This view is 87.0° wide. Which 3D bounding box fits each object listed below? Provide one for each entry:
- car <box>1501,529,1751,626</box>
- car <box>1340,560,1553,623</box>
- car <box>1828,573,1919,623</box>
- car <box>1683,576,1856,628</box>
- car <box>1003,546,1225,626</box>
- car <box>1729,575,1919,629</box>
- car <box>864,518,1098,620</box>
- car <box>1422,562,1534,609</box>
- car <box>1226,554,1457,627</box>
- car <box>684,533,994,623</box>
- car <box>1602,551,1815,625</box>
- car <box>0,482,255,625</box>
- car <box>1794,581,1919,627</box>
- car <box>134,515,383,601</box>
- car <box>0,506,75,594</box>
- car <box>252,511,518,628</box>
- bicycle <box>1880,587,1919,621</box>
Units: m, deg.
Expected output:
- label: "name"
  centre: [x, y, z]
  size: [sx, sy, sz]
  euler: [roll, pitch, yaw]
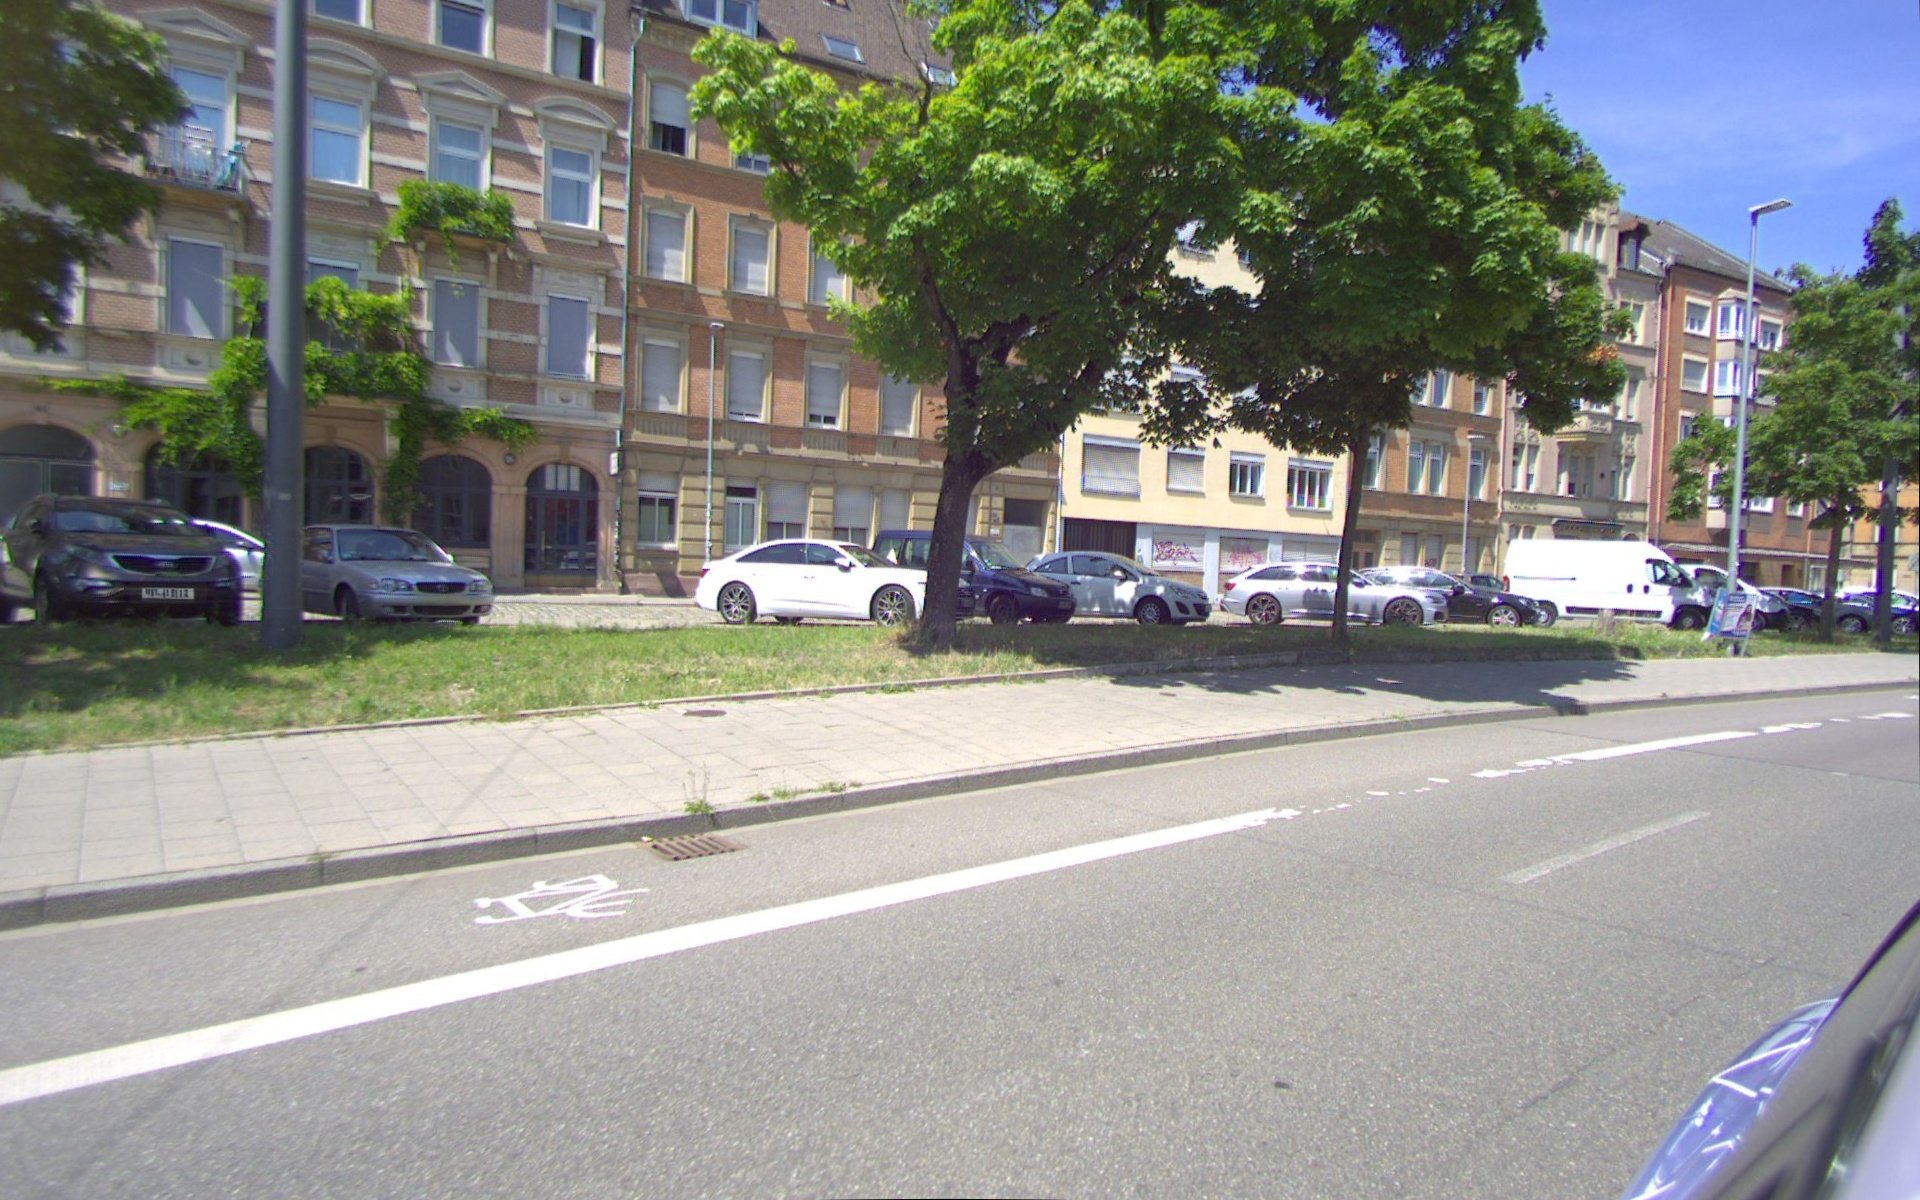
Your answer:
- label: "car"
  centre: [18.238, -0.664, 28.138]
  size: [5.499, 2.491, 2.217]
  euler: [2, 1, 27]
- label: "car"
  centre: [11.559, -0.237, 24.246]
  size: [4.389, 1.355, 1.954]
  euler: [2, 1, 27]
- label: "car"
  centre: [32.940, -0.047, 35.007]
  size: [4.396, 1.652, 1.970]
  euler: [2, 1, 42]
- label: "car"
  centre: [24.498, 0.025, 30.697]
  size: [3.986, 1.404, 1.795]
  euler: [2, 1, 43]
- label: "car"
  centre: [2.982, -0.314, 19.771]
  size: [3.963, 1.417, 1.696]
  euler: [2, 1, 28]
- label: "car"
  centre: [27.346, 0.024, 32.103]
  size: [4.612, 1.515, 1.937]
  euler: [2, 1, 40]
- label: "car"
  centre: [0.335, -0.576, 18.729]
  size: [3.979, 1.682, 1.945]
  euler: [2, 1, 38]
- label: "car"
  centre: [19.621, -0.540, 38.316]
  size: [3.918, 1.705, 1.828]
  euler: [1, 1, -28]
- label: "car"
  centre: [8.526, -0.249, 22.670]
  size: [4.648, 1.445, 1.954]
  euler: [2, 1, 27]
- label: "car"
  centre: [-2.014, -0.394, 16.919]
  size: [4.733, 1.330, 2.134]
  euler: [2, 1, 23]
- label: "car"
  centre: [21.606, -0.397, 29.499]
  size: [4.817, 1.997, 2.051]
  euler: [2, 1, 35]
- label: "car"
  centre: [-10.487, -0.541, 12.452]
  size: [4.068, 1.488, 1.774]
  euler: [2, 1, 37]
- label: "car"
  centre: [30.280, 0.116, 33.524]
  size: [3.986, 1.417, 1.795]
  euler: [2, 1, 43]
- label: "car"
  centre: [-13.915, -0.802, 20.377]
  size: [3.919, 1.549, 1.845]
  euler: [1, 1, -29]
- label: "car"
  centre: [-18.560, -0.922, 17.949]
  size: [3.917, 1.549, 1.846]
  euler: [1, 1, -25]
- label: "car"
  centre: [-7.769, -0.405, 13.533]
  size: [3.985, 1.330, 1.942]
  euler: [2, 1, 42]
- label: "bicycle"
  centre: [35.622, 0.157, 37.445]
  size: [2.319, 1.208, 0.740]
  euler: [1, 1, 5]
